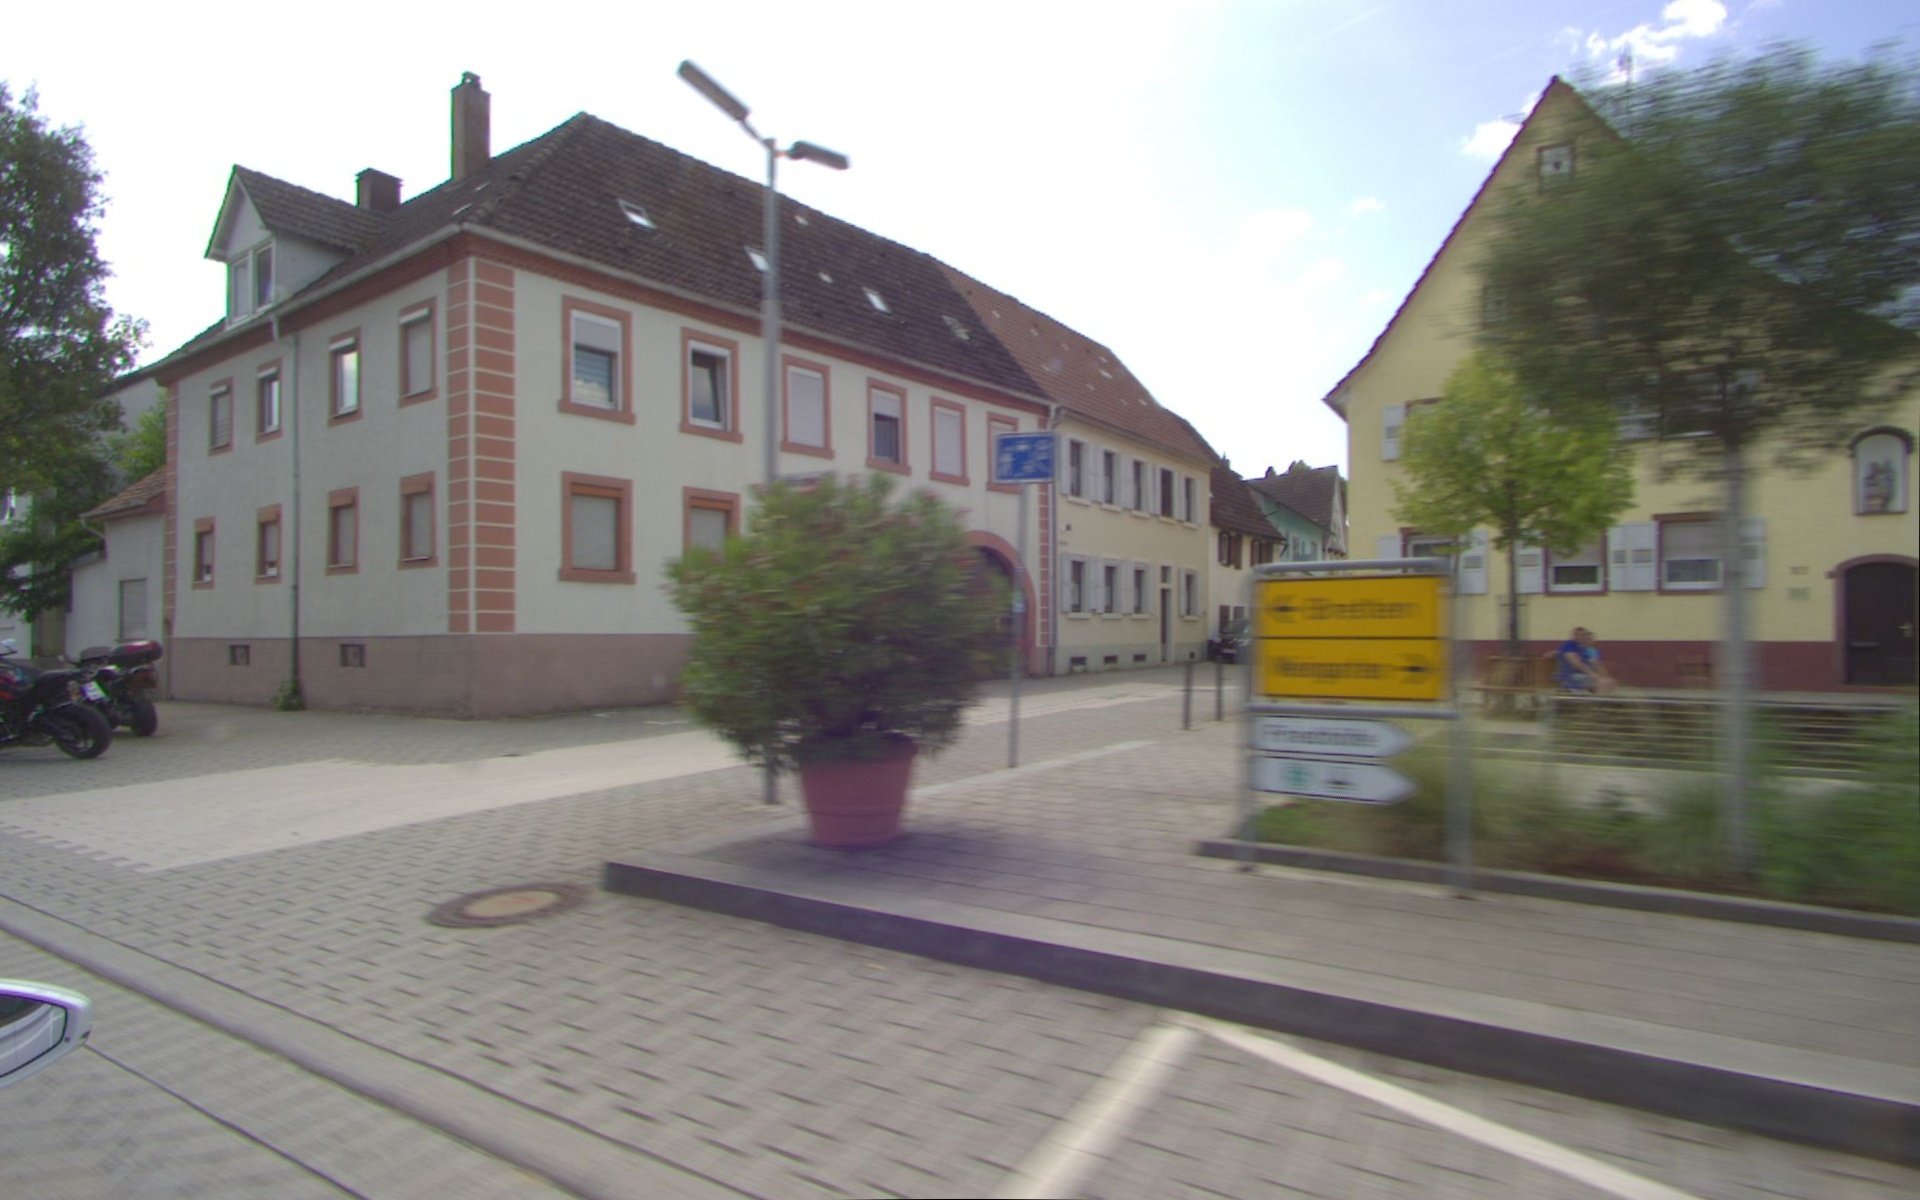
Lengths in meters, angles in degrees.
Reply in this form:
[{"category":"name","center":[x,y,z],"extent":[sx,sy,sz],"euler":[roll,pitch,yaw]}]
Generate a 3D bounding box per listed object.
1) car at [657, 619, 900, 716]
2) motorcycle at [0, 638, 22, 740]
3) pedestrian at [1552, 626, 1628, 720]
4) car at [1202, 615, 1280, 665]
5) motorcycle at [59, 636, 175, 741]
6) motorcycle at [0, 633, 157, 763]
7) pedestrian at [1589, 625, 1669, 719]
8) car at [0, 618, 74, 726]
[{"category":"car","center":[-3.058,1.081,17.484],"extent":[1.804,1.492,3.976],"euler":[-1,-1,40]},{"category":"motorcycle","center":[-13.350,1.177,13.316],"extent":[2.150,1.315,0.628],"euler":[-2,0,29]},{"category":"pedestrian","center":[9.016,1.030,14.350],"extent":[0.603,1.301,0.671],"euler":[-1,-1,-16]},{"category":"car","center":[9.882,1.355,35.064],"extent":[1.585,1.641,3.653],"euler":[1,0,34]},{"category":"motorcycle","center":[-11.832,1.178,14.022],"extent":[2.201,1.315,0.954],"euler":[-1,0,43]},{"category":"motorcycle","center":[-10.705,1.100,11.470],"extent":[2.184,1.413,0.872],"euler":[0,-1,-12]},{"category":"pedestrian","center":[9.631,1.024,14.429],"extent":[0.527,1.301,0.789],"euler":[-1,-1,-16]},{"category":"car","center":[-15.649,1.111,14.497],"extent":[1.824,1.598,3.841],"euler":[-1,0,31]}]
